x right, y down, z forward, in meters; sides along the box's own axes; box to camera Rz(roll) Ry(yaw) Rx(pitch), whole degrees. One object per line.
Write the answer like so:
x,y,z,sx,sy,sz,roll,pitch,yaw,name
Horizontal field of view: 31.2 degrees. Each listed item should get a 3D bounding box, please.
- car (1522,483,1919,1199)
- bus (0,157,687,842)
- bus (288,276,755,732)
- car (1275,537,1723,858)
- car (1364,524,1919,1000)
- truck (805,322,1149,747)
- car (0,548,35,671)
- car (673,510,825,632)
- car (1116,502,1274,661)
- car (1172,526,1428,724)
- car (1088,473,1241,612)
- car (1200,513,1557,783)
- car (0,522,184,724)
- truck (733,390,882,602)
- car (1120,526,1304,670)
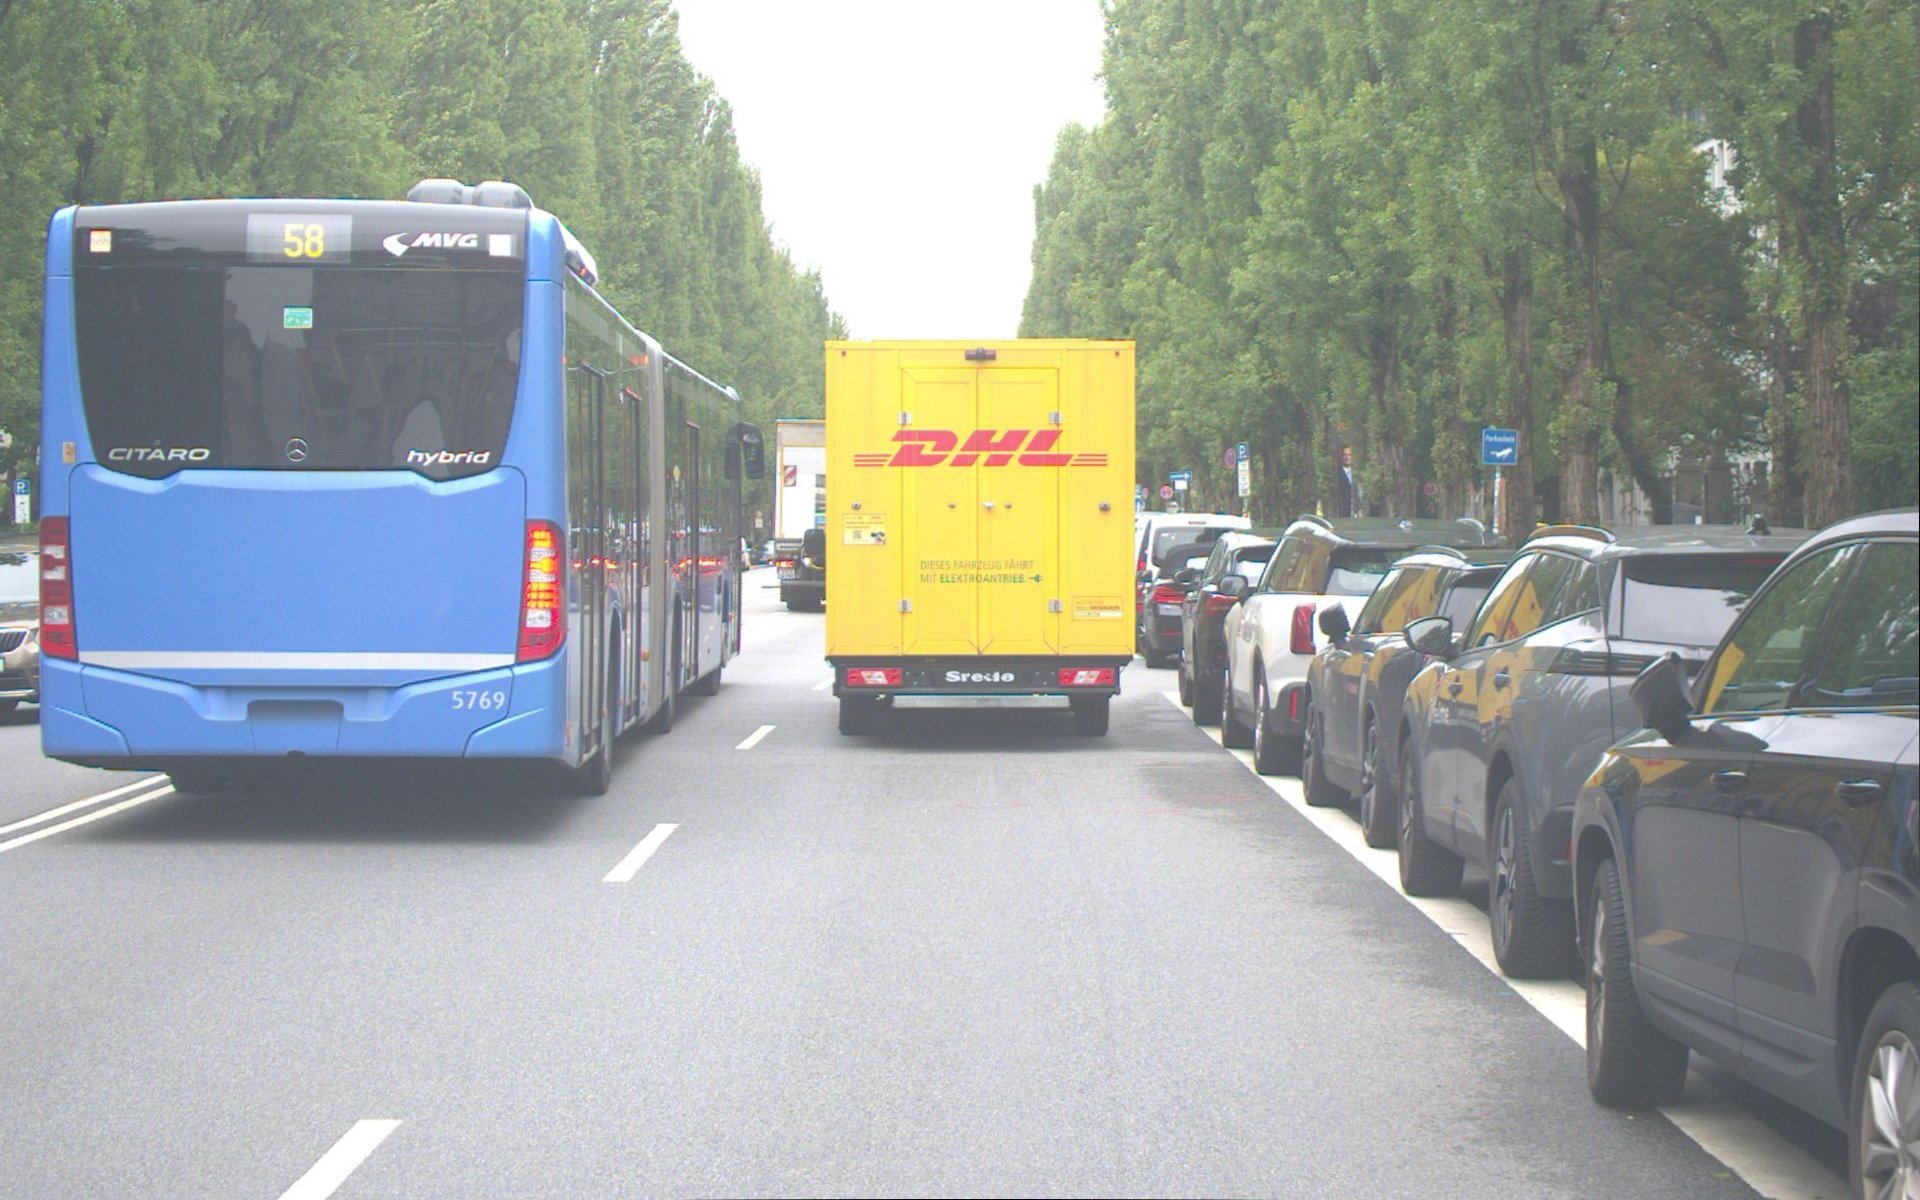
2.528,0.558,7.682,1.821,1.585,4.223,0,1,0,car
-3.321,-0.577,20.658,2.855,3.202,9.061,0,1,-1,bus
-3.480,-0.800,29.895,2.872,3.292,9.790,-1,1,-1,bus
2.691,0.416,18.029,1.633,1.441,4.149,2,1,0,car
2.610,0.474,12.933,1.651,1.498,4.114,0,1,0,car
0.090,-0.523,27.185,2.327,2.888,7.333,-1,1,0,truck
-12.759,0.157,42.641,1.743,1.513,4.119,-3,1,-5,car
-3.268,-0.493,53.971,2.035,1.795,4.507,-1,1,1,car
3.017,-0.273,44.891,1.806,1.969,4.237,0,1,1,car
2.719,0.146,28.262,1.725,1.490,4.324,-1,1,1,car
3.110,-0.912,53.232,2.052,2.007,5.693,-1,1,1,car
2.644,0.244,22.635,1.781,1.576,4.147,1,1,0,car
-8.289,0.172,30.611,1.785,1.650,4.114,-2,1,0,car
-3.022,-2.052,69.110,2.715,3.951,9.219,-1,1,-2,truck
2.832,-0.063,39.381,1.863,1.546,4.000,-1,1,1,car
